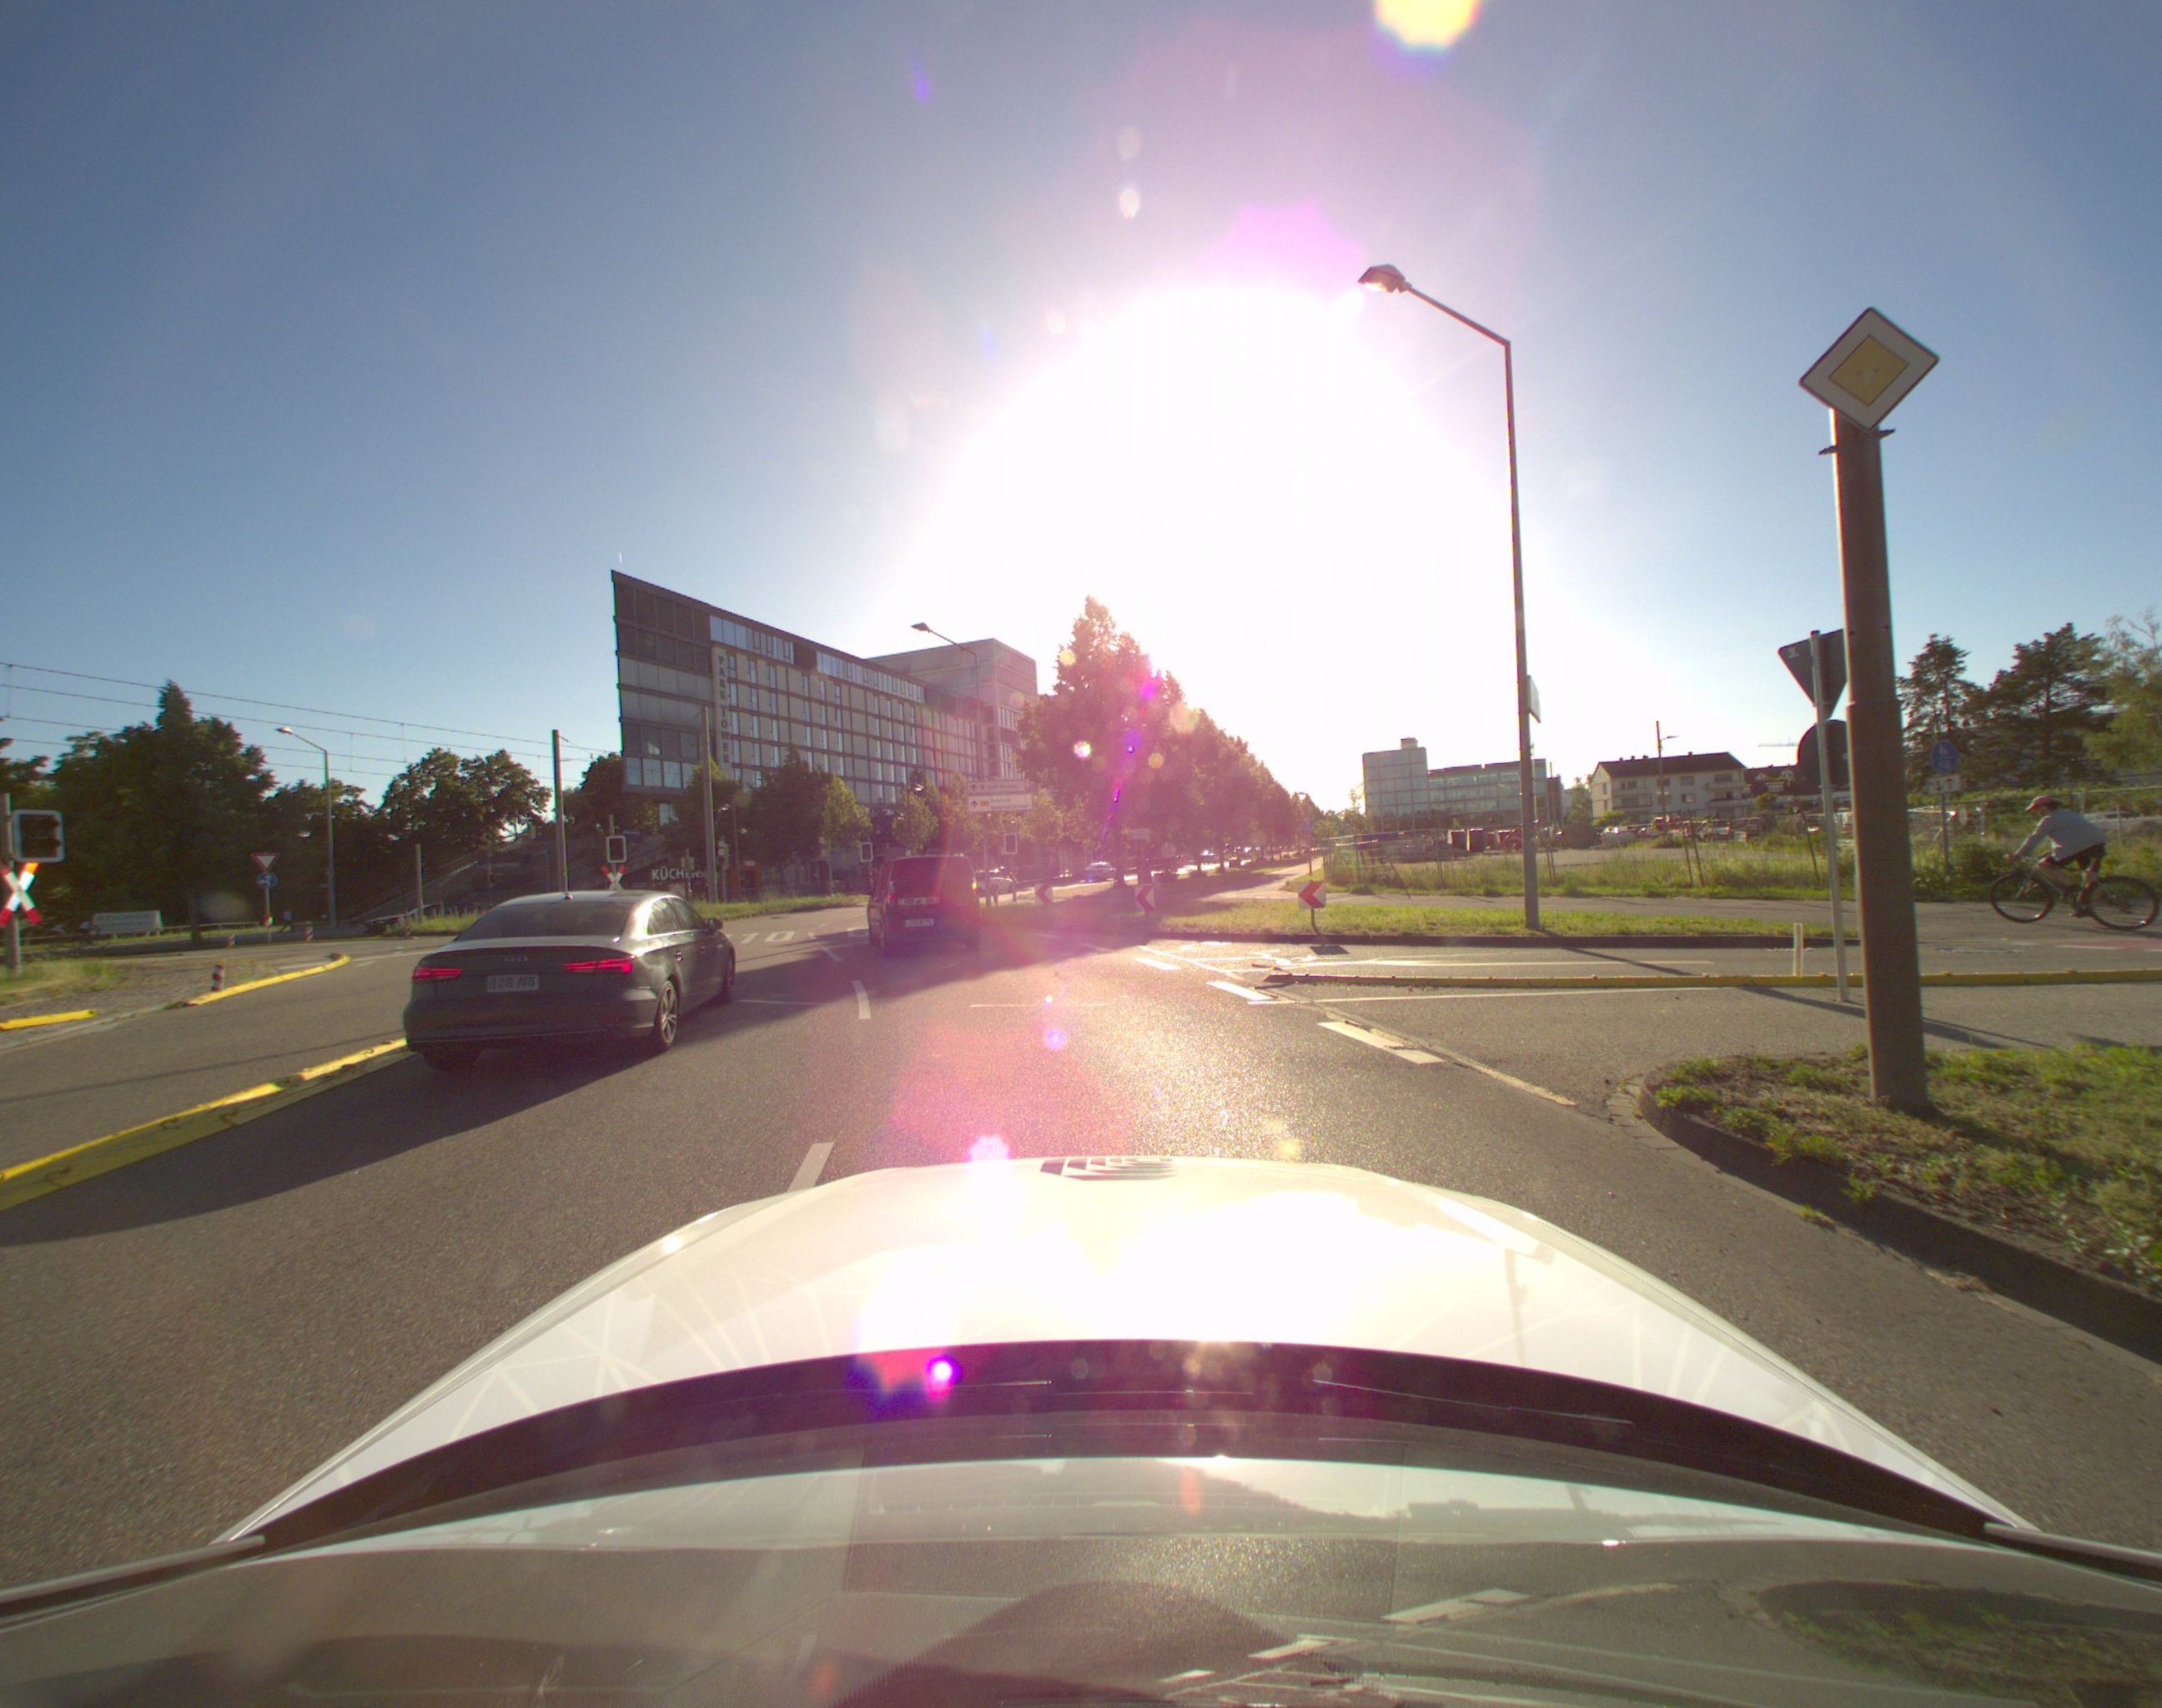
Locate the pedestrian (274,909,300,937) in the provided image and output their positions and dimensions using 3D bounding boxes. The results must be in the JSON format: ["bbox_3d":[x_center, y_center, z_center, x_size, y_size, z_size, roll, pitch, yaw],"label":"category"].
[{"bbox_3d":[-48.611,4.209,49.855,0.874,1.629,0.765,-3,0,23],"label":"pedestrian"}]

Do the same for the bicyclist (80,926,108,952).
[{"bbox_3d":[-56.341,4.858,46.487,0.612,1.392,0.720,-3,0,6],"label":"bicyclist"}]

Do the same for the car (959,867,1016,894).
[{"bbox_3d":[-5.507,1.543,48.408,1.787,1.461,3.828,-2,-1,20],"label":"car"}]

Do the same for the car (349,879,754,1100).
[{"bbox_3d":[-4.596,1.007,7.949,1.761,1.380,4.341,-3,-1,-11],"label":"car"}]

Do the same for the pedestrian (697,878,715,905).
[{"bbox_3d":[-21.153,2.089,45.903,0.550,1.466,0.680,-3,0,17],"label":"pedestrian"}]

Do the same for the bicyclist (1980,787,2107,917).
[{"bbox_3d":[13.364,-0.032,11.327,0.741,1.680,0.850,-5,1,-15],"label":"bicyclist"}]

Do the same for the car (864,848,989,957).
[{"bbox_3d":[-3.137,0.882,15.909,1.809,1.814,3.783,-1,-2,-20],"label":"car"}]

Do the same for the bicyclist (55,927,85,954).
[{"bbox_3d":[-57.465,4.899,46.296,0.612,1.392,0.839,-3,0,6],"label":"bicyclist"}]

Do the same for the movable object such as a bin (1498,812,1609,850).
[{"bbox_3d":[40.327,-1.913,69.892,7.837,2.782,2.960,-3,1,22],"label":"movable object such as a bin"}]

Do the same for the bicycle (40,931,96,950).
[{"bbox_3d":[-57.471,4.903,46.228,0.612,0.852,1.892,-3,0,6],"label":"bicycle"}]

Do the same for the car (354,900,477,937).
[{"bbox_3d":[-33.836,3.228,41.530,1.714,1.487,4.519,-3,0,35],"label":"car"}]

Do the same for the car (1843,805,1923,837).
[{"bbox_3d":[54.801,-2.229,55.755,1.978,2.013,4.519,-1,1,16],"label":"car"}]

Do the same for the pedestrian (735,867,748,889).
[{"bbox_3d":[-31.613,2.251,75.844,0.632,2.013,0.838,-3,0,21],"label":"pedestrian"}]

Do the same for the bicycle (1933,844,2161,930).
[{"bbox_3d":[13.415,0.415,11.345,0.741,1.027,2.000,-5,1,-15],"label":"bicycle"}]

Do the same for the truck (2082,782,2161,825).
[{"bbox_3d":[52.454,-2.427,39.503,2.145,2.013,6.472,-1,1,23],"label":"truck"}]

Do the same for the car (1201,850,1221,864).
[{"bbox_3d":[18.059,0.396,113.102,1.977,1.575,4.430,-3,0,19],"label":"car"}]

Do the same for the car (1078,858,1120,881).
[{"bbox_3d":[1.531,1.255,66.499,1.977,1.575,4.431,-3,0,20],"label":"car"}]

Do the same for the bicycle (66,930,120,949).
[{"bbox_3d":[-56.335,4.861,46.481,0.612,0.852,1.892,-3,0,6],"label":"bicycle"}]

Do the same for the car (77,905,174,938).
[{"bbox_3d":[-64.674,4.553,55.205,3.751,1.805,1.823,-4,0,-26],"label":"car"}]
